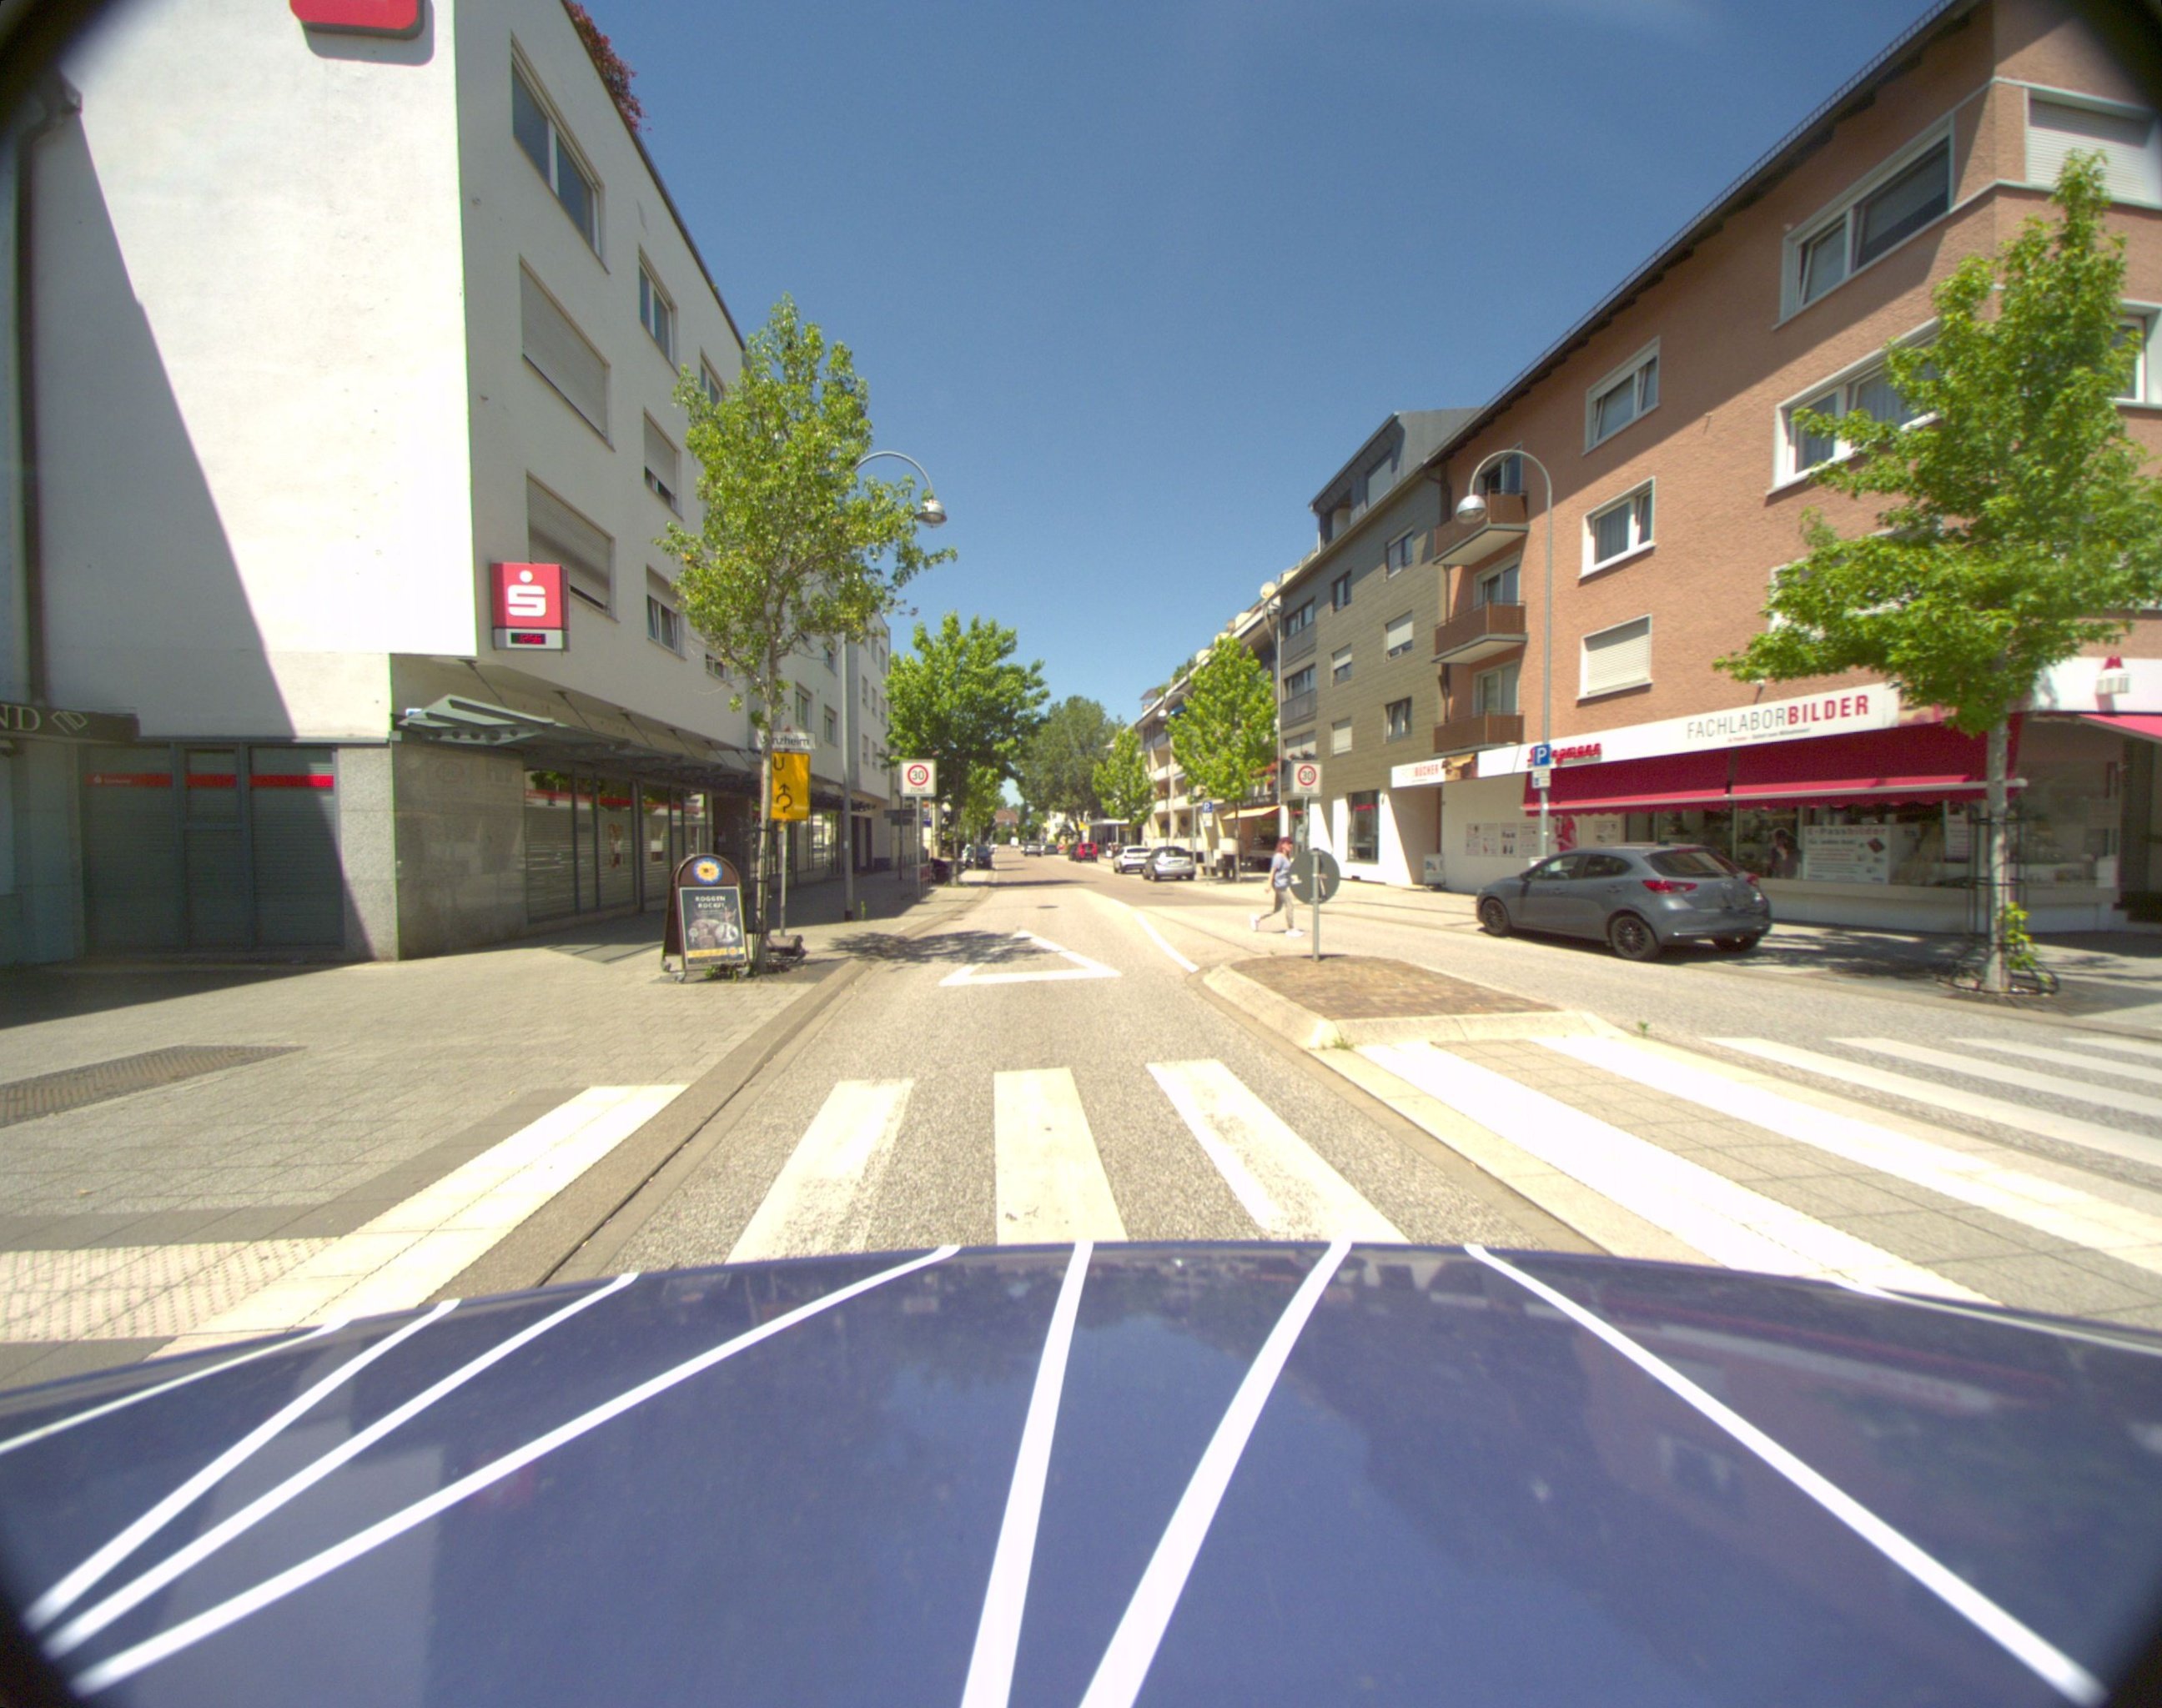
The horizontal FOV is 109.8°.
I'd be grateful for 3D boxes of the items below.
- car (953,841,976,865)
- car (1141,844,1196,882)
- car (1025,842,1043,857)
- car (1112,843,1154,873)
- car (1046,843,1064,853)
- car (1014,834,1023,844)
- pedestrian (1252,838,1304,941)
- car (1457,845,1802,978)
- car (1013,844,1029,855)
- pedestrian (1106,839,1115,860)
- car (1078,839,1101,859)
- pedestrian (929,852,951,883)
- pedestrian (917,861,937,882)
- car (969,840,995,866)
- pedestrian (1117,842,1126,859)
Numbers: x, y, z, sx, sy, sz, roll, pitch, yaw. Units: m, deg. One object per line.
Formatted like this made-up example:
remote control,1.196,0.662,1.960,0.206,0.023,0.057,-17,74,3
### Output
car,-8.903,-0.111,58.314,1.694,1.712,4.130,-1,1,-8
car,3.666,0.337,32.282,1.626,1.465,3.546,-1,1,-5
car,-5.843,-0.568,94.038,1.907,1.744,4.752,0,1,-9
car,2.860,0.189,42.631,1.700,1.583,4.296,-1,1,-5
car,-3.704,-0.866,106.460,2.000,1.412,3.995,-1,1,-10
car,-17.128,-4.114,208.581,2.233,2.452,5.245,-1,1,-5
pedestrian,3.147,0.552,12.169,0.734,1.601,0.559,0,1,7
car,7.578,0.652,11.073,1.672,1.478,4.056,-3,1,-9
car,-9.175,-0.757,116.472,1.778,1.623,4.294,-1,1,-13
pedestrian,2.511,-0.429,65.400,0.667,1.794,0.686,0,1,9
car,0.722,-0.425,66.134,1.645,1.652,3.368,-2,1,-5
pedestrian,-5.768,0.541,31.121,0.761,1.233,0.538,0,2,9
pedestrian,-6.412,0.741,31.677,0.679,0.847,0.538,1,2,8
car,-6.941,-0.099,52.962,1.694,1.712,3.996,2,1,-9
pedestrian,3.501,-0.289,65.817,0.778,1.490,0.697,0,1,6
